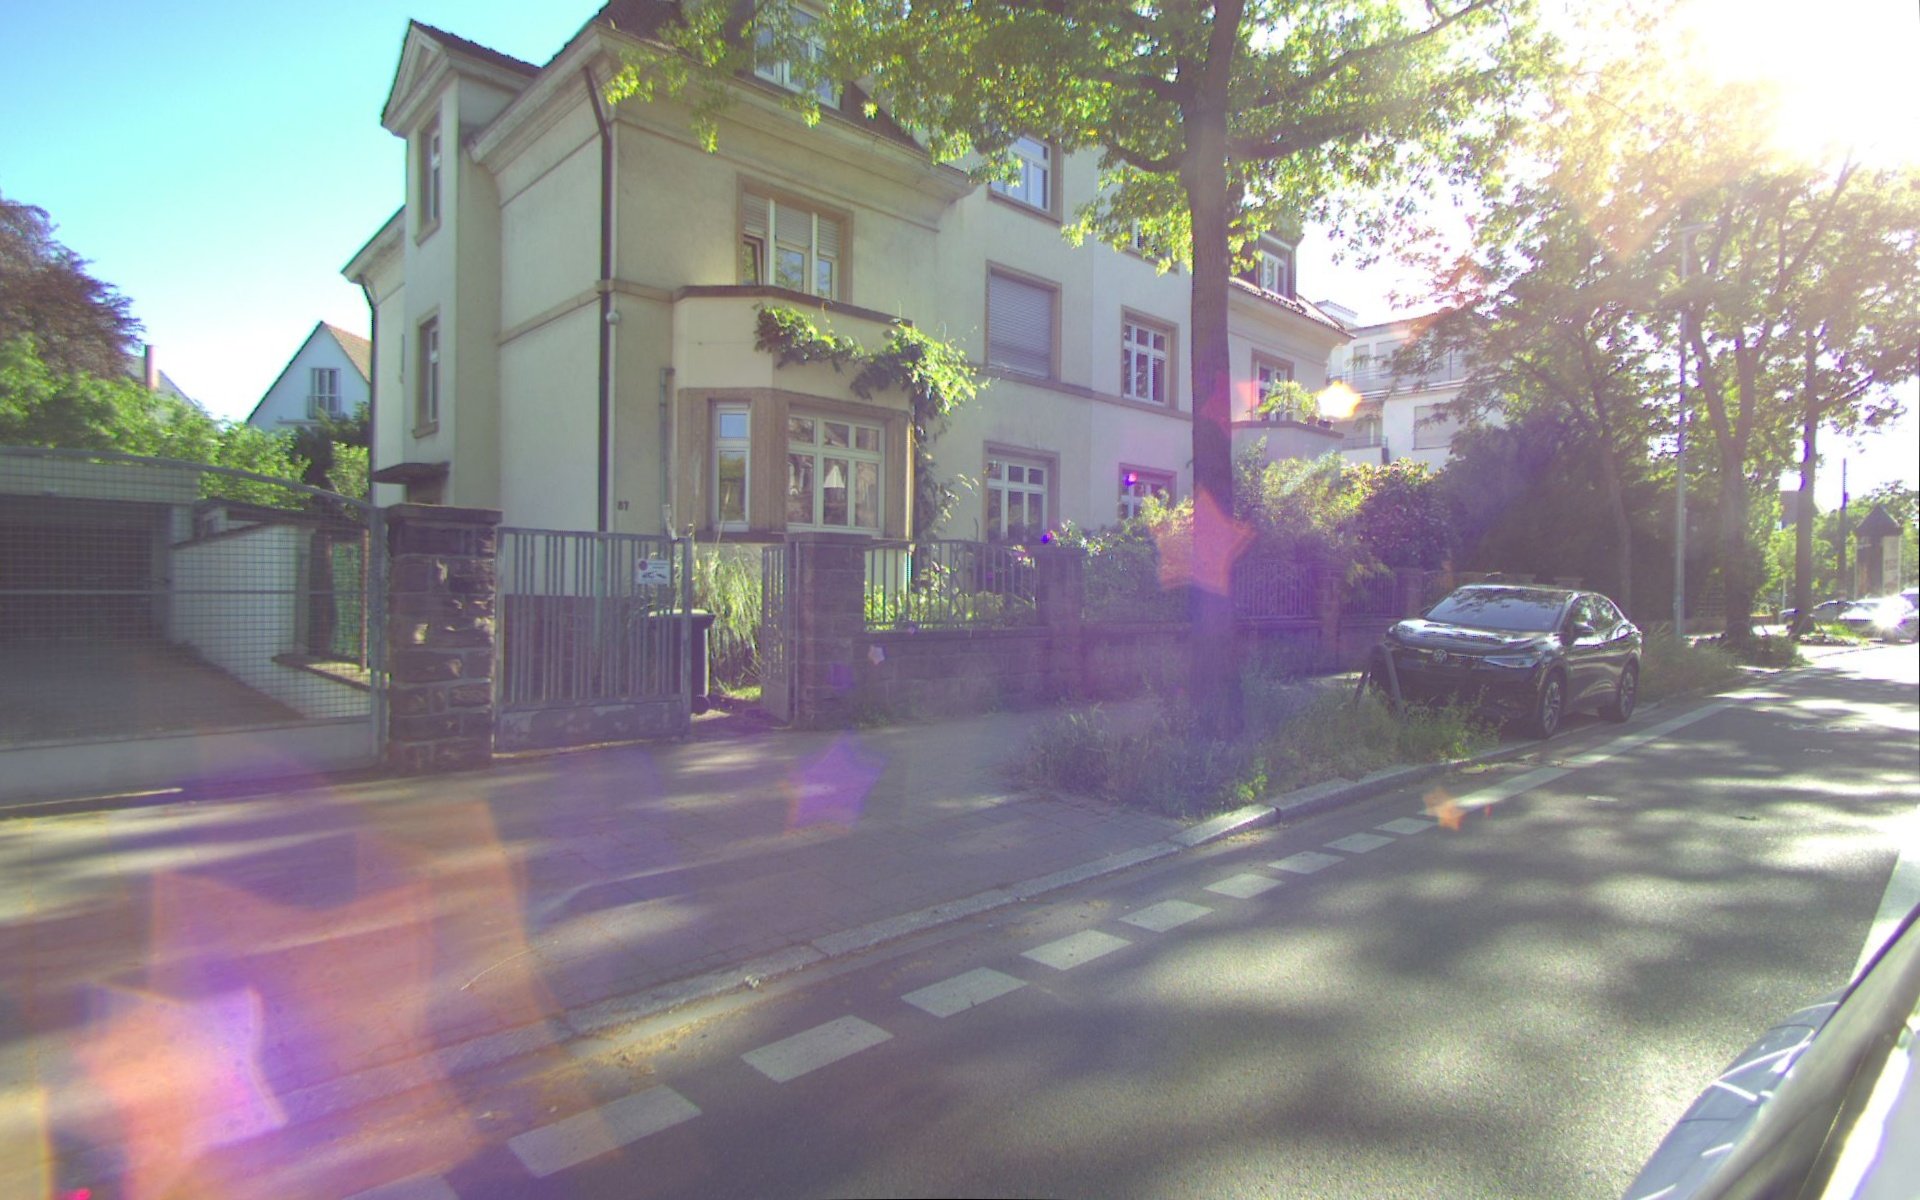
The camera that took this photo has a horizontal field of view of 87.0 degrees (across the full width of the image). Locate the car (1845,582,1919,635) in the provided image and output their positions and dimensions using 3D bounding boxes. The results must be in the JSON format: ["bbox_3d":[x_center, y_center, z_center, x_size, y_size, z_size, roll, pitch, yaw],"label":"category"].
[{"bbox_3d":[31.517,0.252,34.103,3.927,1.660,1.824,0,1,-38],"label":"car"}]

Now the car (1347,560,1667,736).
[{"bbox_3d":[6.707,0.479,12.202,4.304,1.695,1.997,1,2,-42],"label":"car"}]

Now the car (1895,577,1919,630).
[{"bbox_3d":[36.772,0.129,37.880,4.663,1.919,2.128,0,1,-41],"label":"car"}]
